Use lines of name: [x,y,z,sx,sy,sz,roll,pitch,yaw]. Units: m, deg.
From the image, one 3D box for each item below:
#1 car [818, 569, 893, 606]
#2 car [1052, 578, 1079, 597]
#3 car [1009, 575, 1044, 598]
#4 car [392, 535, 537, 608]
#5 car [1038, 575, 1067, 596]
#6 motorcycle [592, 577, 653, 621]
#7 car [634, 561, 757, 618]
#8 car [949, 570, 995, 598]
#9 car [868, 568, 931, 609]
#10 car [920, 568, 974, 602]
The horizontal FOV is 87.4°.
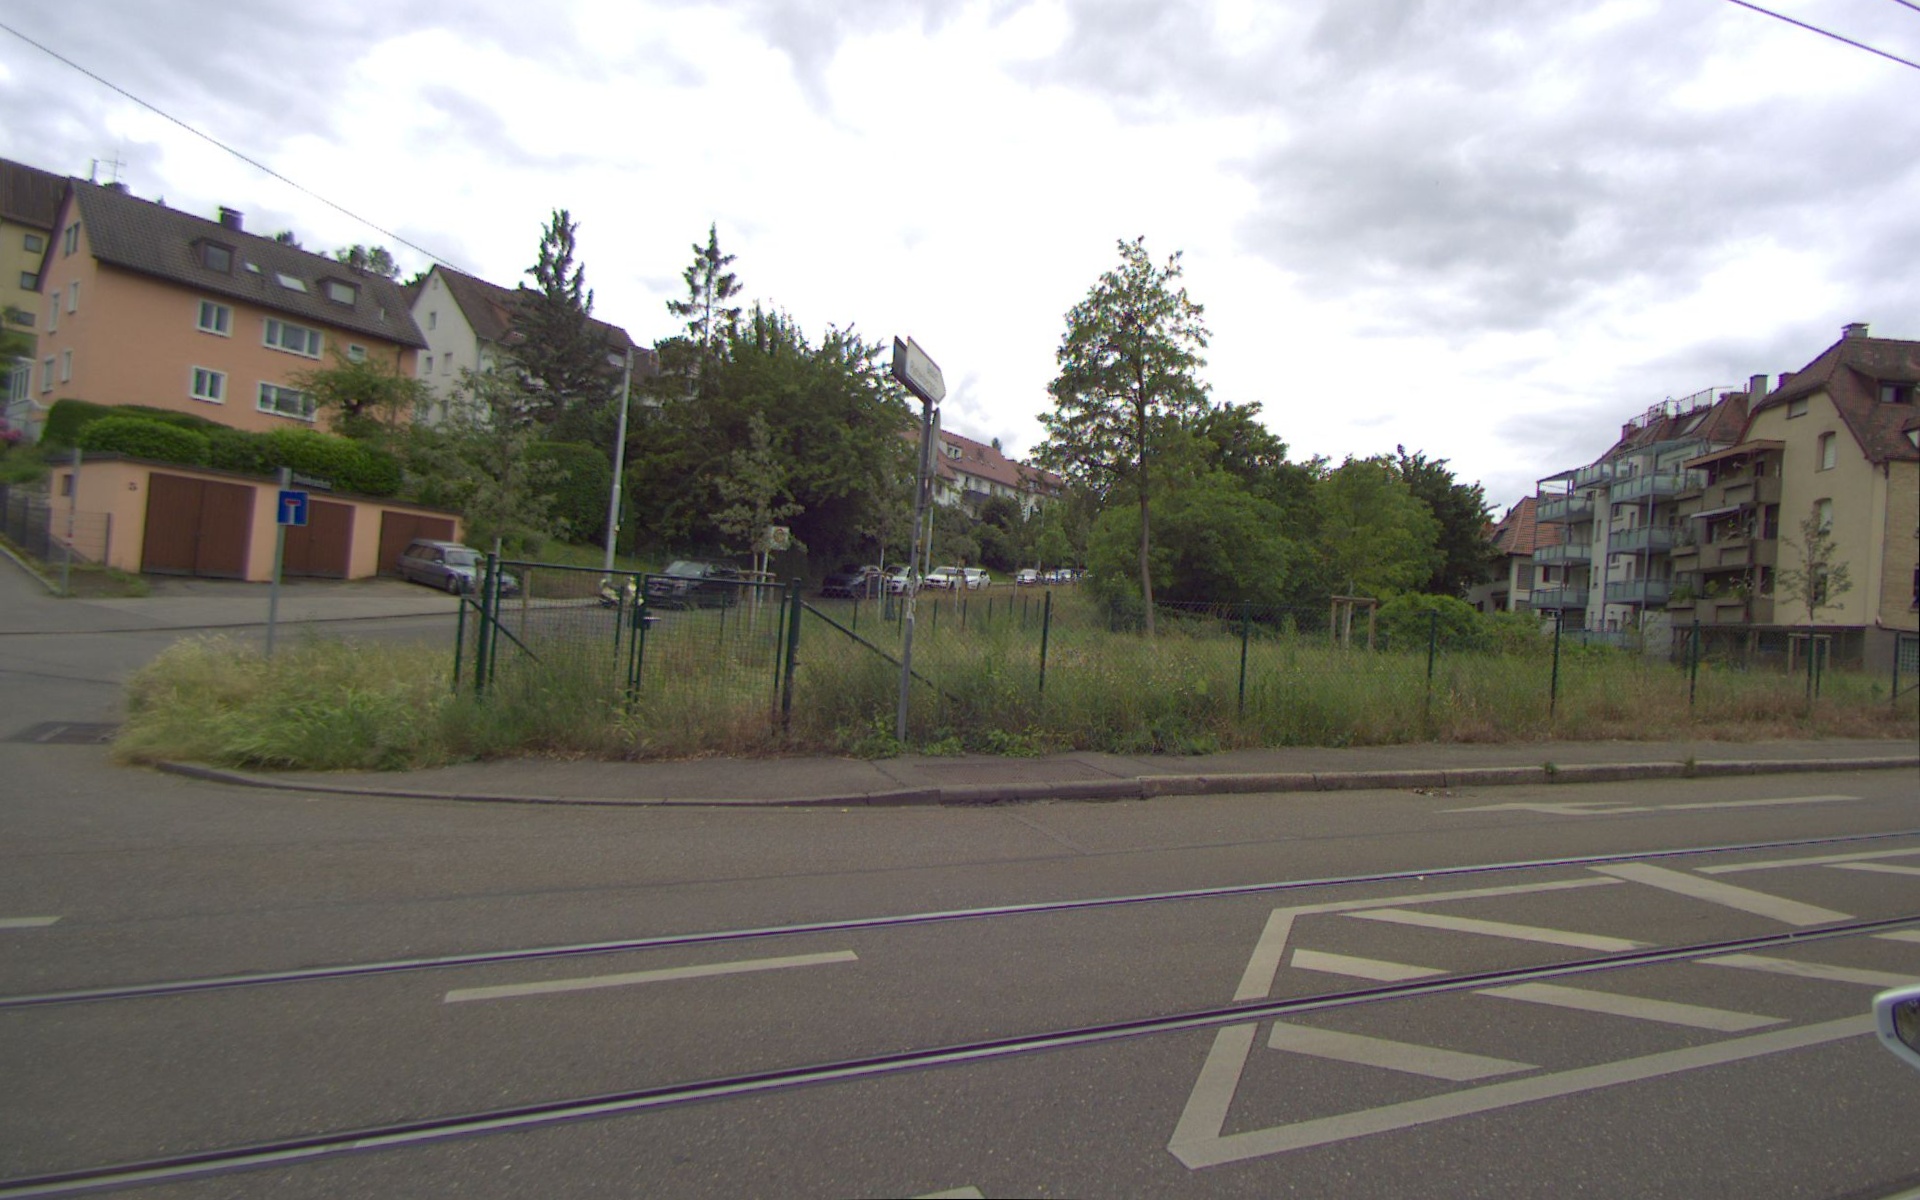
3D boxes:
car: [-4.906,-0.554,47.827,1.943,1.531,4.132,3,0,19]
car: [10.506,-1.213,100.186,1.801,1.680,4.133,3,0,18]
car: [5.542,-1.116,83.556,1.801,1.680,4.132,3,0,19]
car: [-15.350,-0.890,31.016,4.803,1.633,1.993,9,3,37]
car: [8.705,-1.344,94.558,1.801,1.680,4.133,3,0,18]
motorcycle: [-10.375,-0.035,30.876,1.671,1.172,0.522,7,1,15]
car: [-8.860,-0.420,34.059,1.937,1.713,4.450,3,3,17]
car: [0.835,-1.046,67.045,1.801,1.680,4.132,3,0,19]
car: [-3.217,-0.586,54.291,1.943,2.040,4.133,3,0,18]
car: [-0.750,-0.897,61.986,1.864,1.812,4.485,3,0,19]
